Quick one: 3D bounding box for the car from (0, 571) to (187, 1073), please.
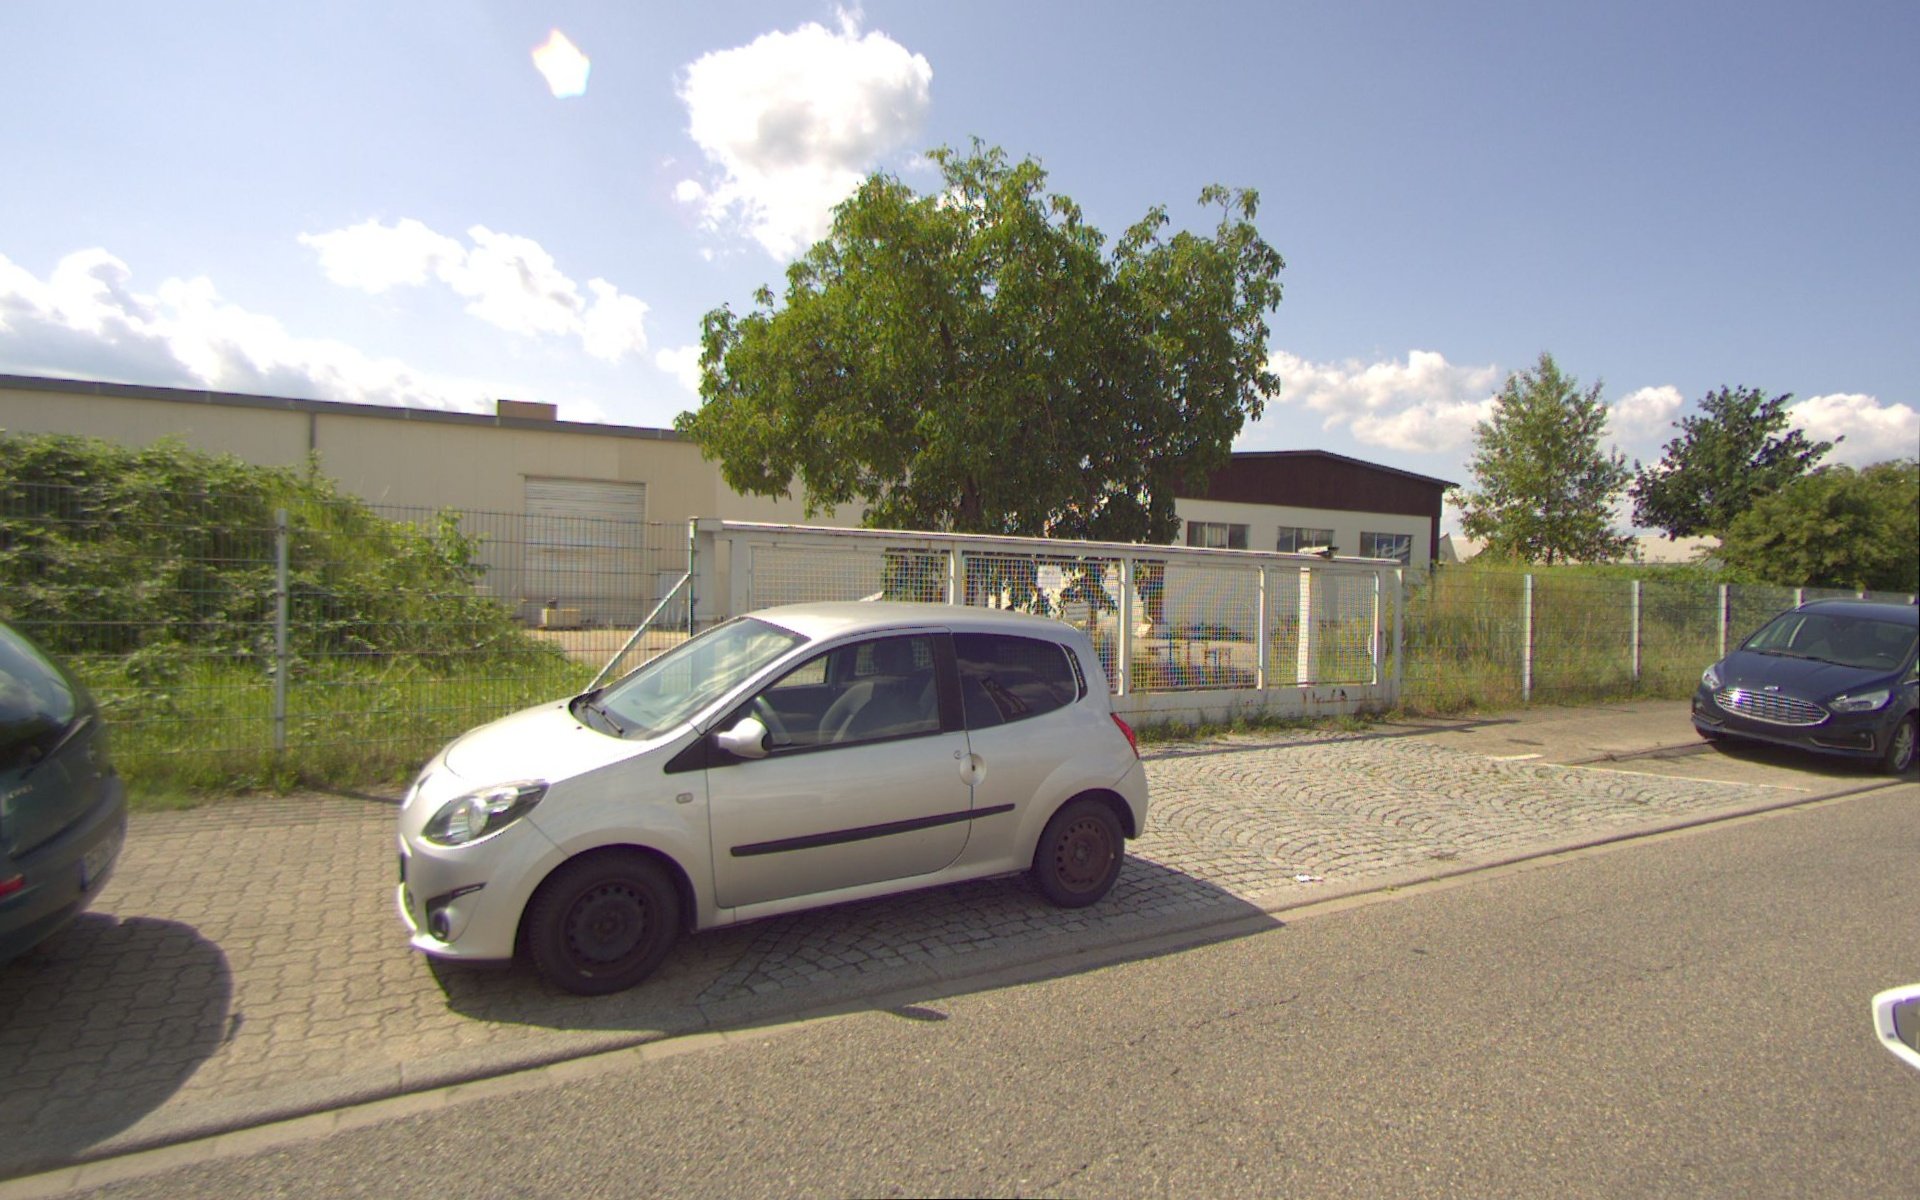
[{"bbox_3d":[-4.742,0.643,2.906,3.753,1.418,1.561,1,6,-29],"label":"car"}]

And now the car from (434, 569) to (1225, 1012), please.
[{"bbox_3d":[-0.582,0.686,5.158,3.667,1.503,1.607,1,3,-31],"label":"car"}]

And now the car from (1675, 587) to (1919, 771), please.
[{"bbox_3d":[10.538,0.810,11.808,4.660,1.773,1.791,1,1,-32],"label":"car"}]

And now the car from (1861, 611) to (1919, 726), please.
[{"bbox_3d":[14.841,1.001,14.584,4.157,1.533,1.567,2,2,-33],"label":"car"}]
